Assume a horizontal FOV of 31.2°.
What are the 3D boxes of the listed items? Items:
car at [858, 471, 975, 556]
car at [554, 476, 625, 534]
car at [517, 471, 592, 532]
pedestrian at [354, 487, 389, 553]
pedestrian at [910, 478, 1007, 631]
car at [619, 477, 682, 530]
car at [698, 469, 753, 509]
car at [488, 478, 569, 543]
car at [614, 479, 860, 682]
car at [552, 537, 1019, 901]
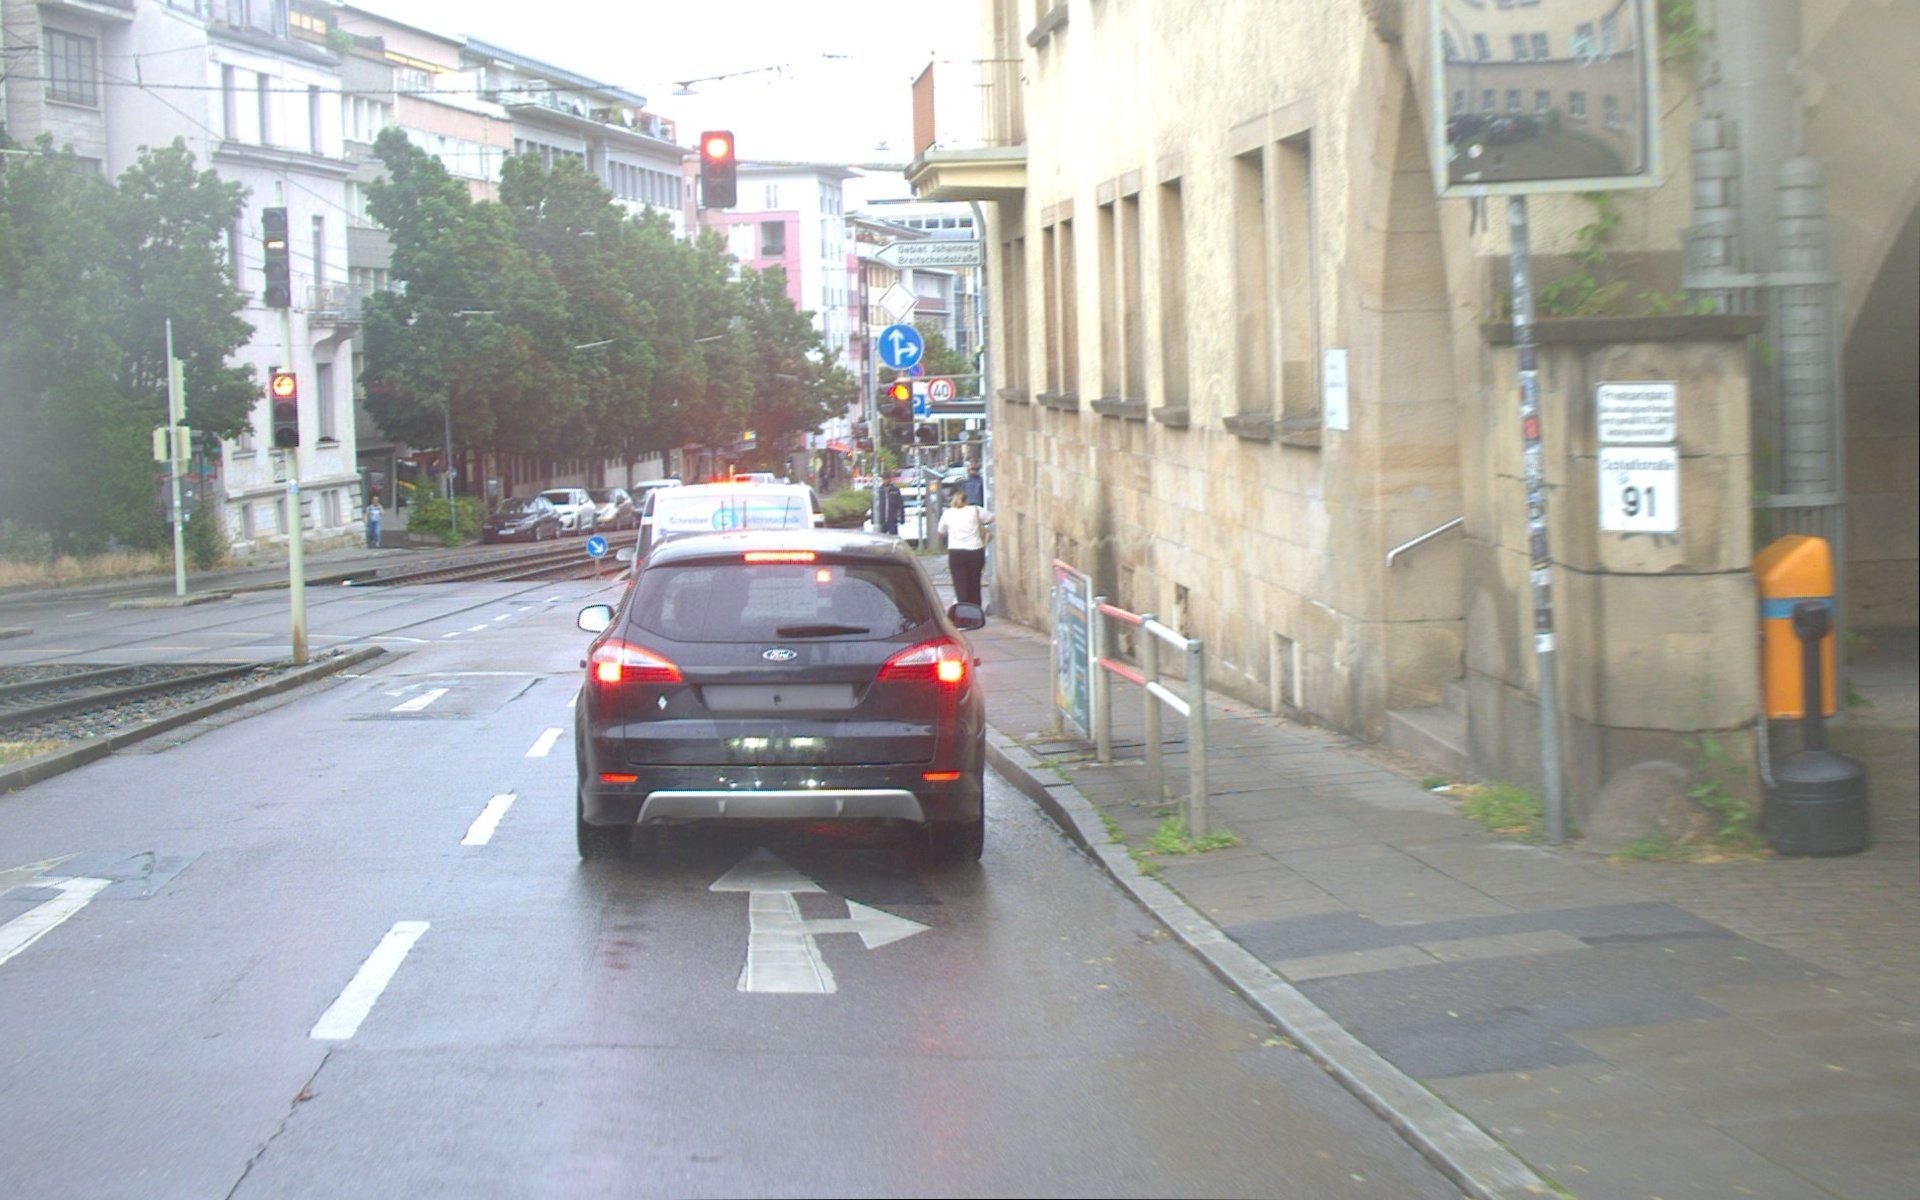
[{"bbox_3d":[-0.917,-1.899,75.005,1.994,1.766,3.999,-1,2,7],"label":"car"},{"bbox_3d":[-13.422,-3.463,124.761,1.993,2.006,4.000,-1,2,1],"label":"car"},{"bbox_3d":[-13.919,-3.377,118.157,1.993,2.006,4.000,-1,2,1],"label":"car"},{"bbox_3d":[-18.149,-2.459,105.984,0.941,2.006,0.765,-2,2,-13],"label":"pedestrian"},{"bbox_3d":[-0.026,-0.553,41.419,1.045,1.789,0.902,-2,2,-5],"label":"pedestrian"},{"bbox_3d":[-12.202,-3.807,135.687,1.993,2.006,4.000,-1,2,1],"label":"car"},{"bbox_3d":[-10.132,-4.784,148.804,1.993,1.656,4.000,-1,2,1],"label":"car"},{"bbox_3d":[-13.976,-2.912,111.595,1.993,2.006,4.000,-1,2,1],"label":"car"},{"bbox_3d":[-2.194,-0.245,33.004,2.136,1.739,4.219,-2,2,-5],"label":"car"},{"bbox_3d":[-0.922,0.465,16.310,1.920,1.474,4.001,1,1,-6],"label":"car"}]
